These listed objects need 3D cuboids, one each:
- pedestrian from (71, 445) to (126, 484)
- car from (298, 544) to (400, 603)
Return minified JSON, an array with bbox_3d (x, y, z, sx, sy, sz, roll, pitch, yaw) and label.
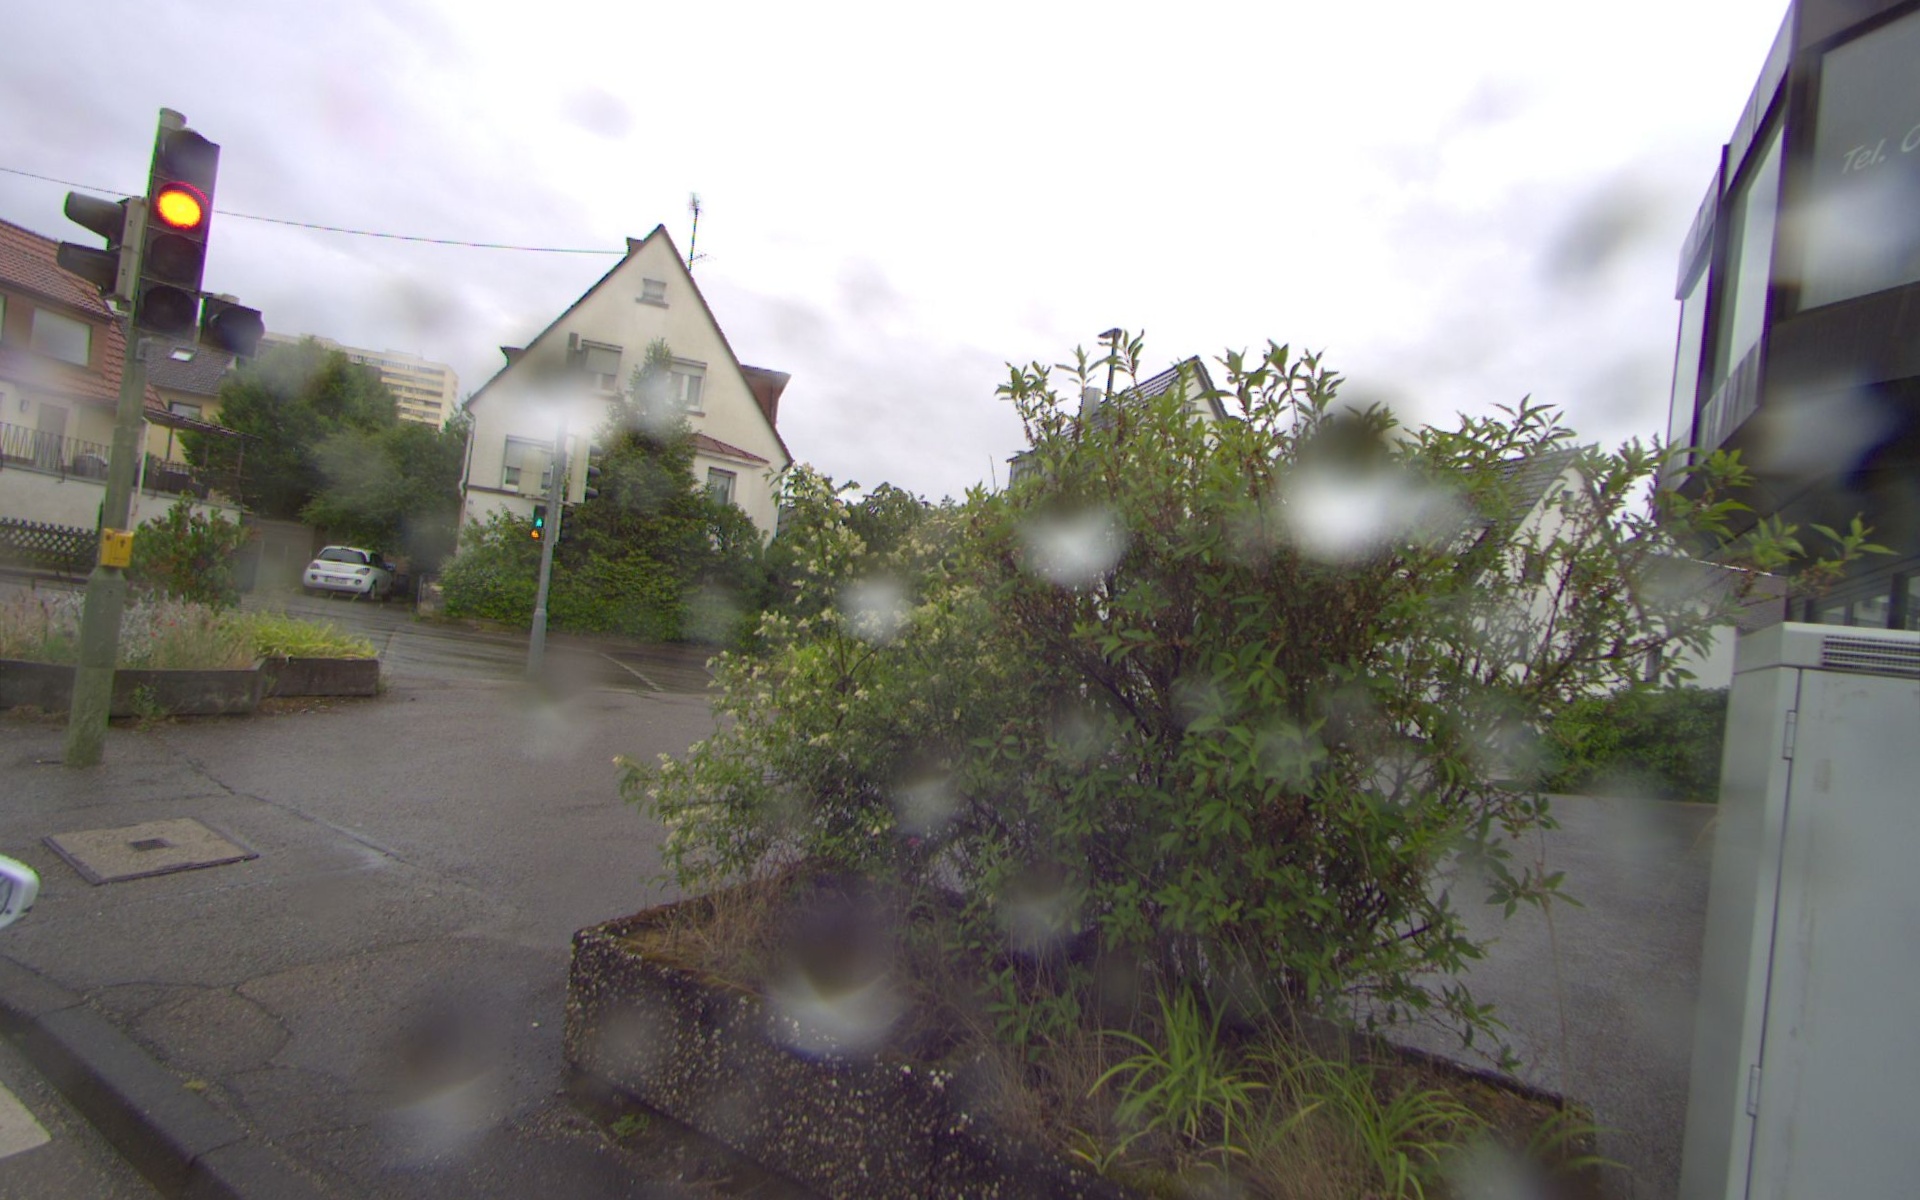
[{"bbox_3d":[-24.281,-3.804,28.375,0.623,0.893,0.920,5,-2,13],"label":"pedestrian"},{"bbox_3d":[-17.765,-0.748,29.426,1.794,1.378,3.981,8,-2,-22],"label":"car"}]
